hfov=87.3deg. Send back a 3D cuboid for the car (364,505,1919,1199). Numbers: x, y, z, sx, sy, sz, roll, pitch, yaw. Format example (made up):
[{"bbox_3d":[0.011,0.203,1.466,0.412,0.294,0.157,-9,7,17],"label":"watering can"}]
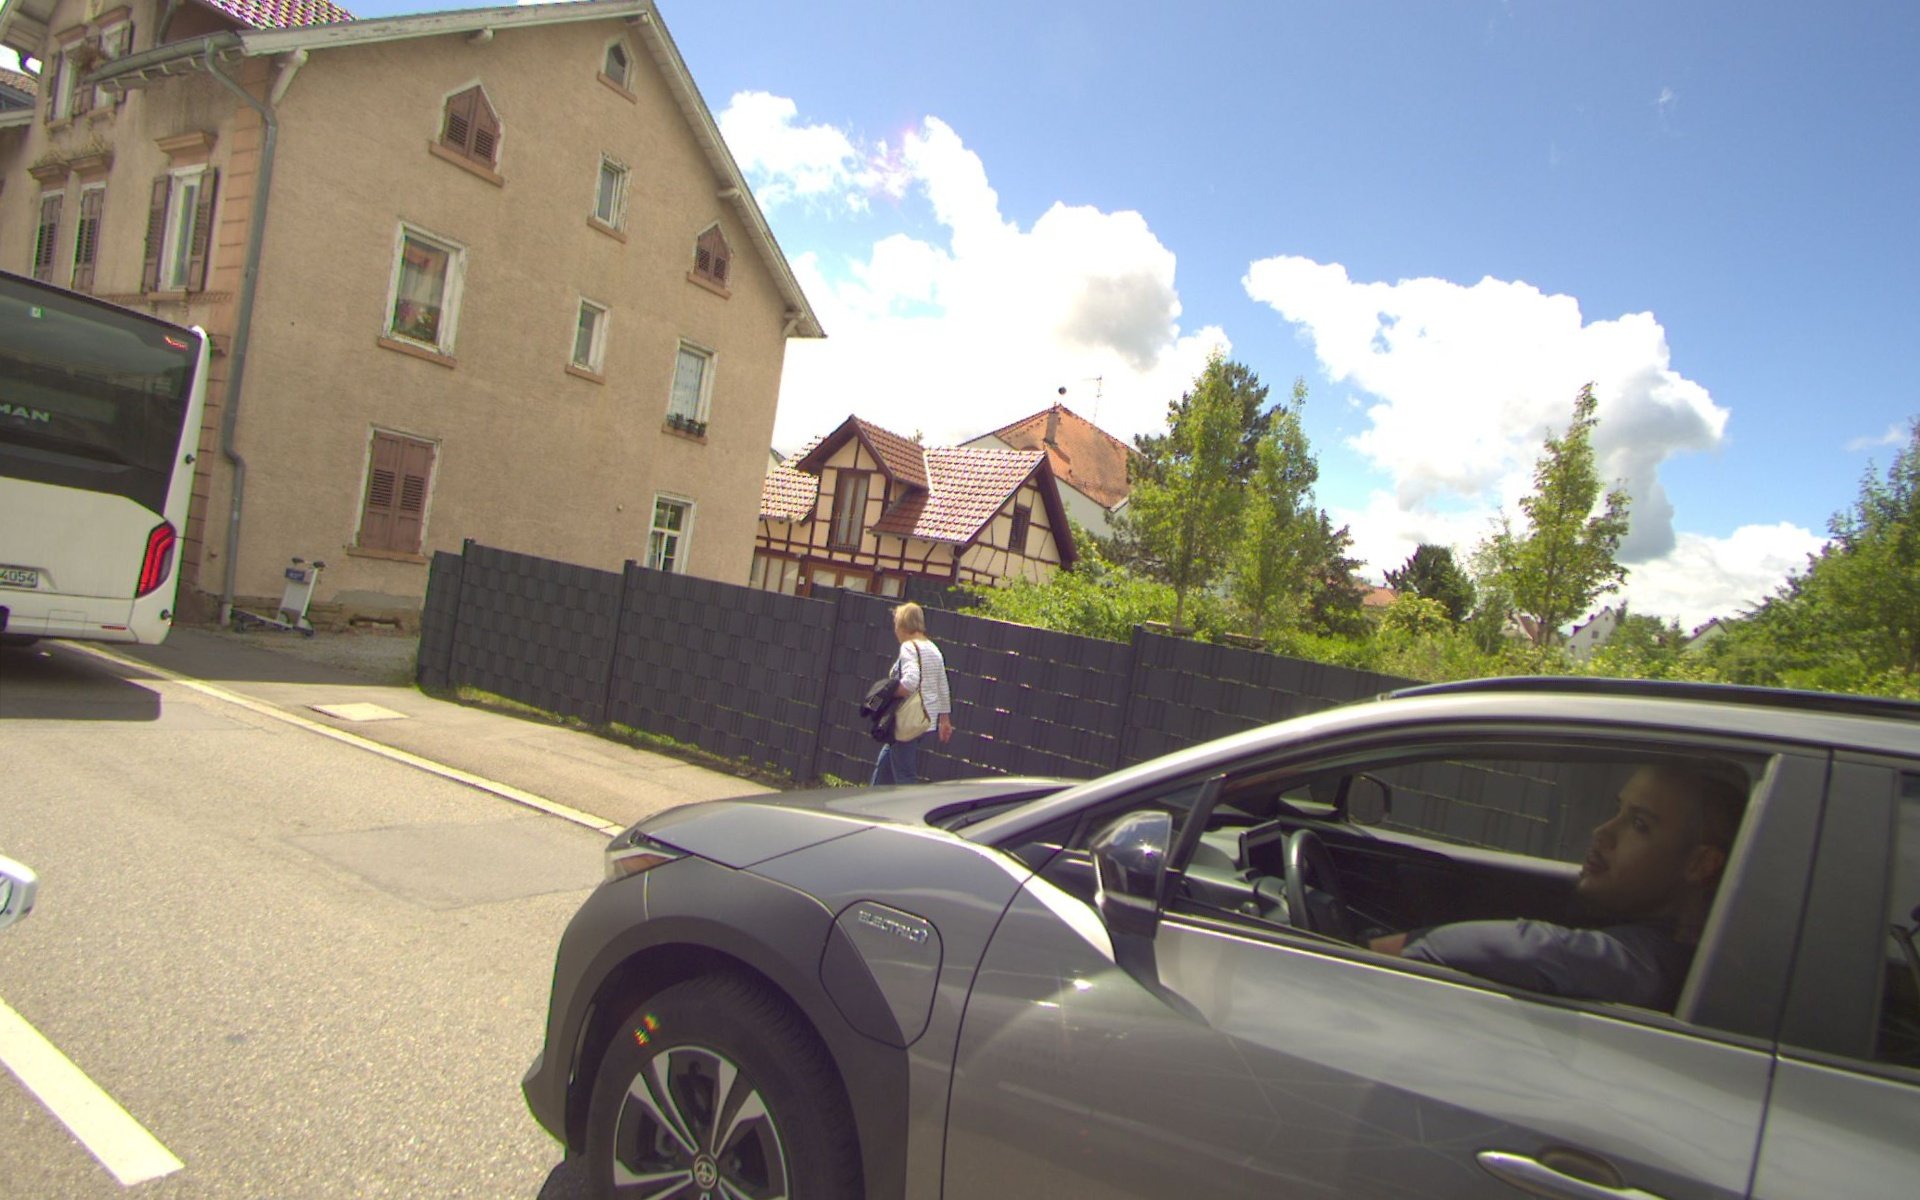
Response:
[{"bbox_3d":[1.072,0.932,2.106,4.605,1.631,1.924,8,-2,32],"label":"car"}]

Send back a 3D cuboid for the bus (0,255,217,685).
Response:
[{"bbox_3d":[-12.391,-1.602,10.736,12.254,3.195,2.675,7,1,32],"label":"bus"}]

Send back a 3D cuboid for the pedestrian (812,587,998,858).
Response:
[{"bbox_3d":[-0.345,0.765,6.603,0.700,1.581,0.860,7,1,31],"label":"pedestrian"}]

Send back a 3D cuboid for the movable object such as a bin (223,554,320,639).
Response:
[{"bbox_3d":[-9.261,-0.040,13.537,0.736,1.025,0.776,7,1,32],"label":"movable object such as a bin"}]
